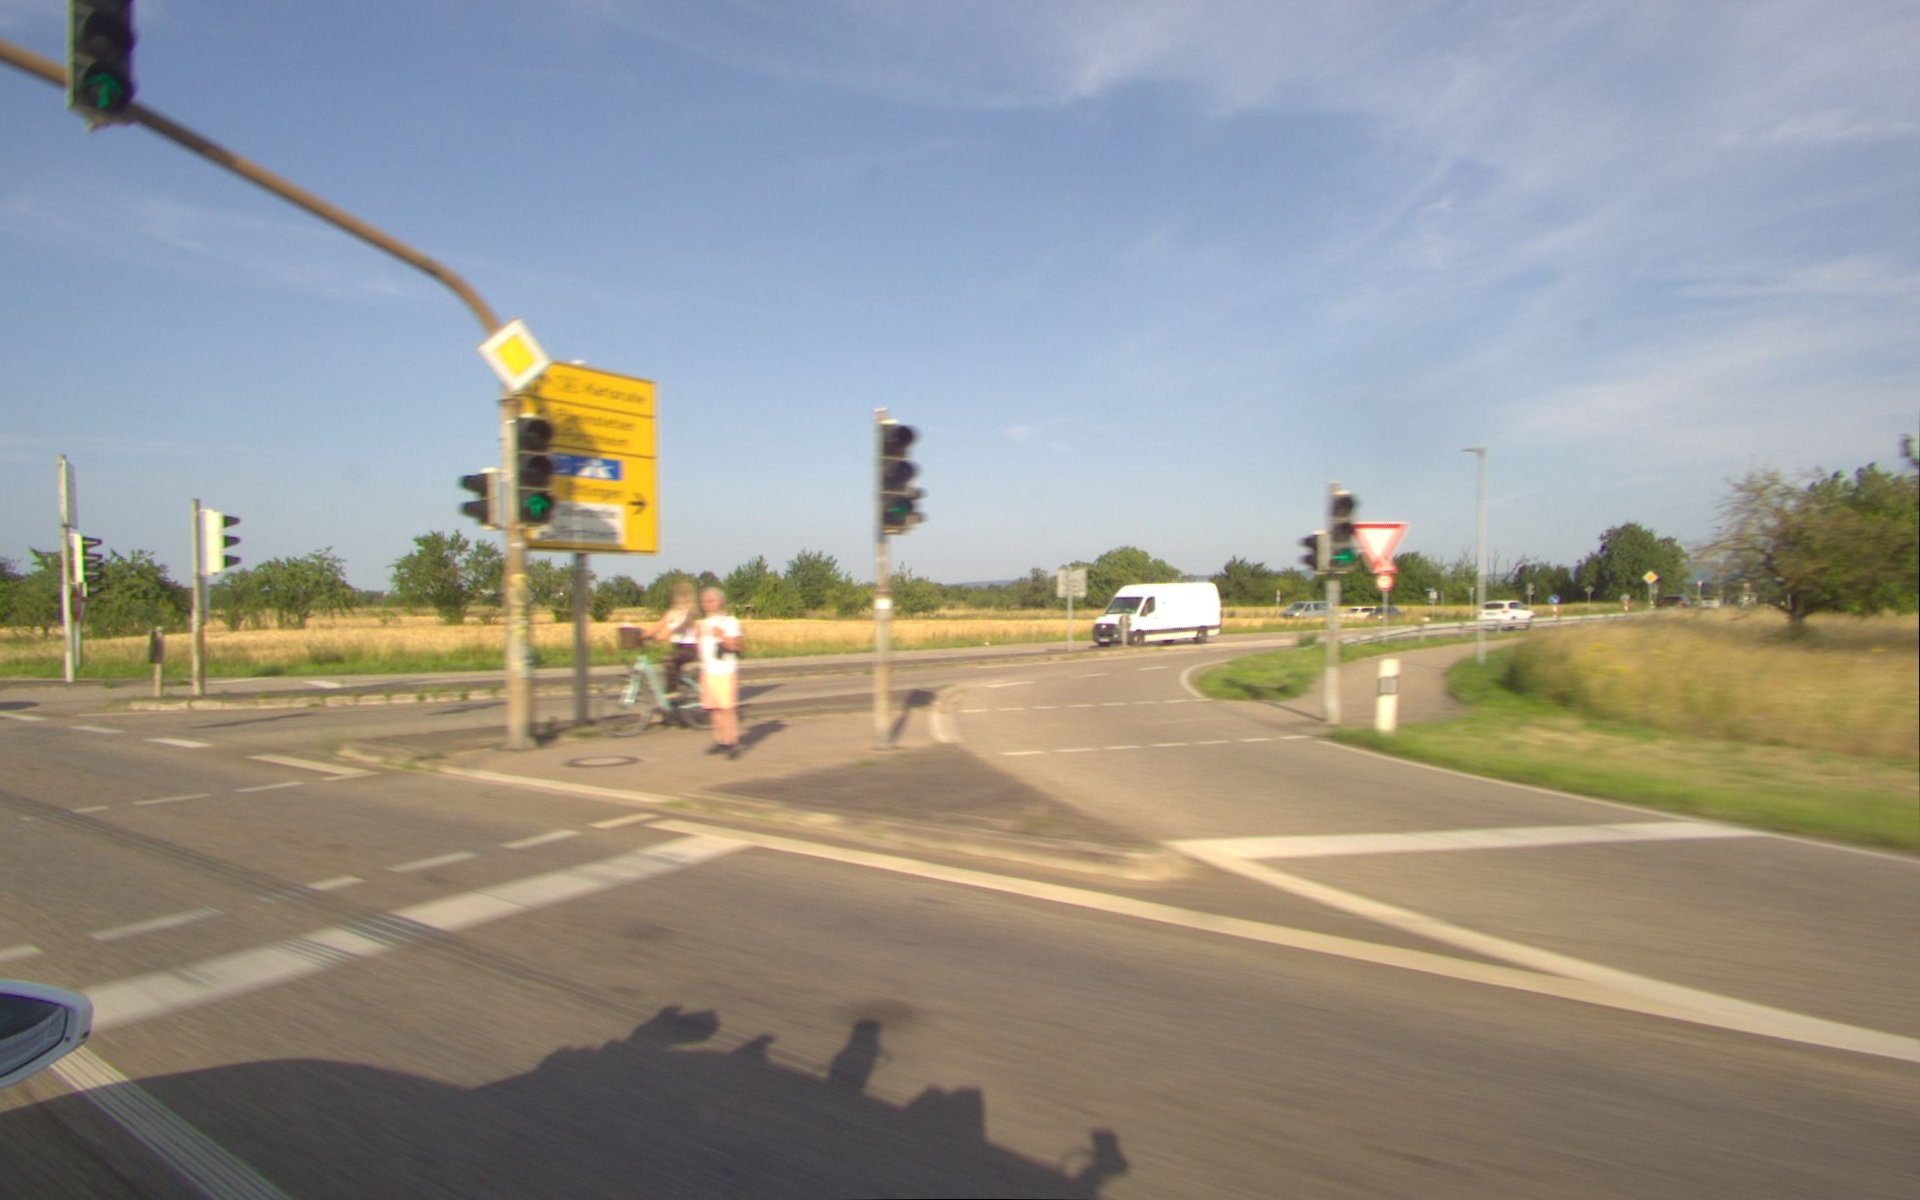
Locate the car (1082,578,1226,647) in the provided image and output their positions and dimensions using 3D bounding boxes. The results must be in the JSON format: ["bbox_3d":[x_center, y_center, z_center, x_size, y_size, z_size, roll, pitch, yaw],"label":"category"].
[{"bbox_3d":[8.278,0.506,42.055,7.140,2.704,2.073,0,-1,-43],"label":"car"}]

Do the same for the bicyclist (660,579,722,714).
[{"bbox_3d":[-3.368,0.573,12.539,0.498,1.633,0.556,-1,-1,40],"label":"bicyclist"}]

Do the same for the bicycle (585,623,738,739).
[{"bbox_3d":[-3.607,0.947,12.235,0.522,1.306,1.848,-1,-2,36],"label":"bicycle"}]

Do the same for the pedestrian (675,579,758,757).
[{"bbox_3d":[-2.534,0.693,10.414,0.592,1.774,0.618,-1,-1,44],"label":"pedestrian"}]

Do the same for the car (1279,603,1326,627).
[{"bbox_3d":[29.074,1.330,84.933,3.949,1.972,1.835,1,-2,-35],"label":"car"}]

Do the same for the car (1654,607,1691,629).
[{"bbox_3d":[58.226,1.525,81.813,3.728,1.739,1.747,2,-2,-44],"label":"car"}]

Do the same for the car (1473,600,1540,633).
[{"bbox_3d":[29.292,0.926,53.633,3.954,1.683,1.721,2,-2,-38],"label":"car"}]
